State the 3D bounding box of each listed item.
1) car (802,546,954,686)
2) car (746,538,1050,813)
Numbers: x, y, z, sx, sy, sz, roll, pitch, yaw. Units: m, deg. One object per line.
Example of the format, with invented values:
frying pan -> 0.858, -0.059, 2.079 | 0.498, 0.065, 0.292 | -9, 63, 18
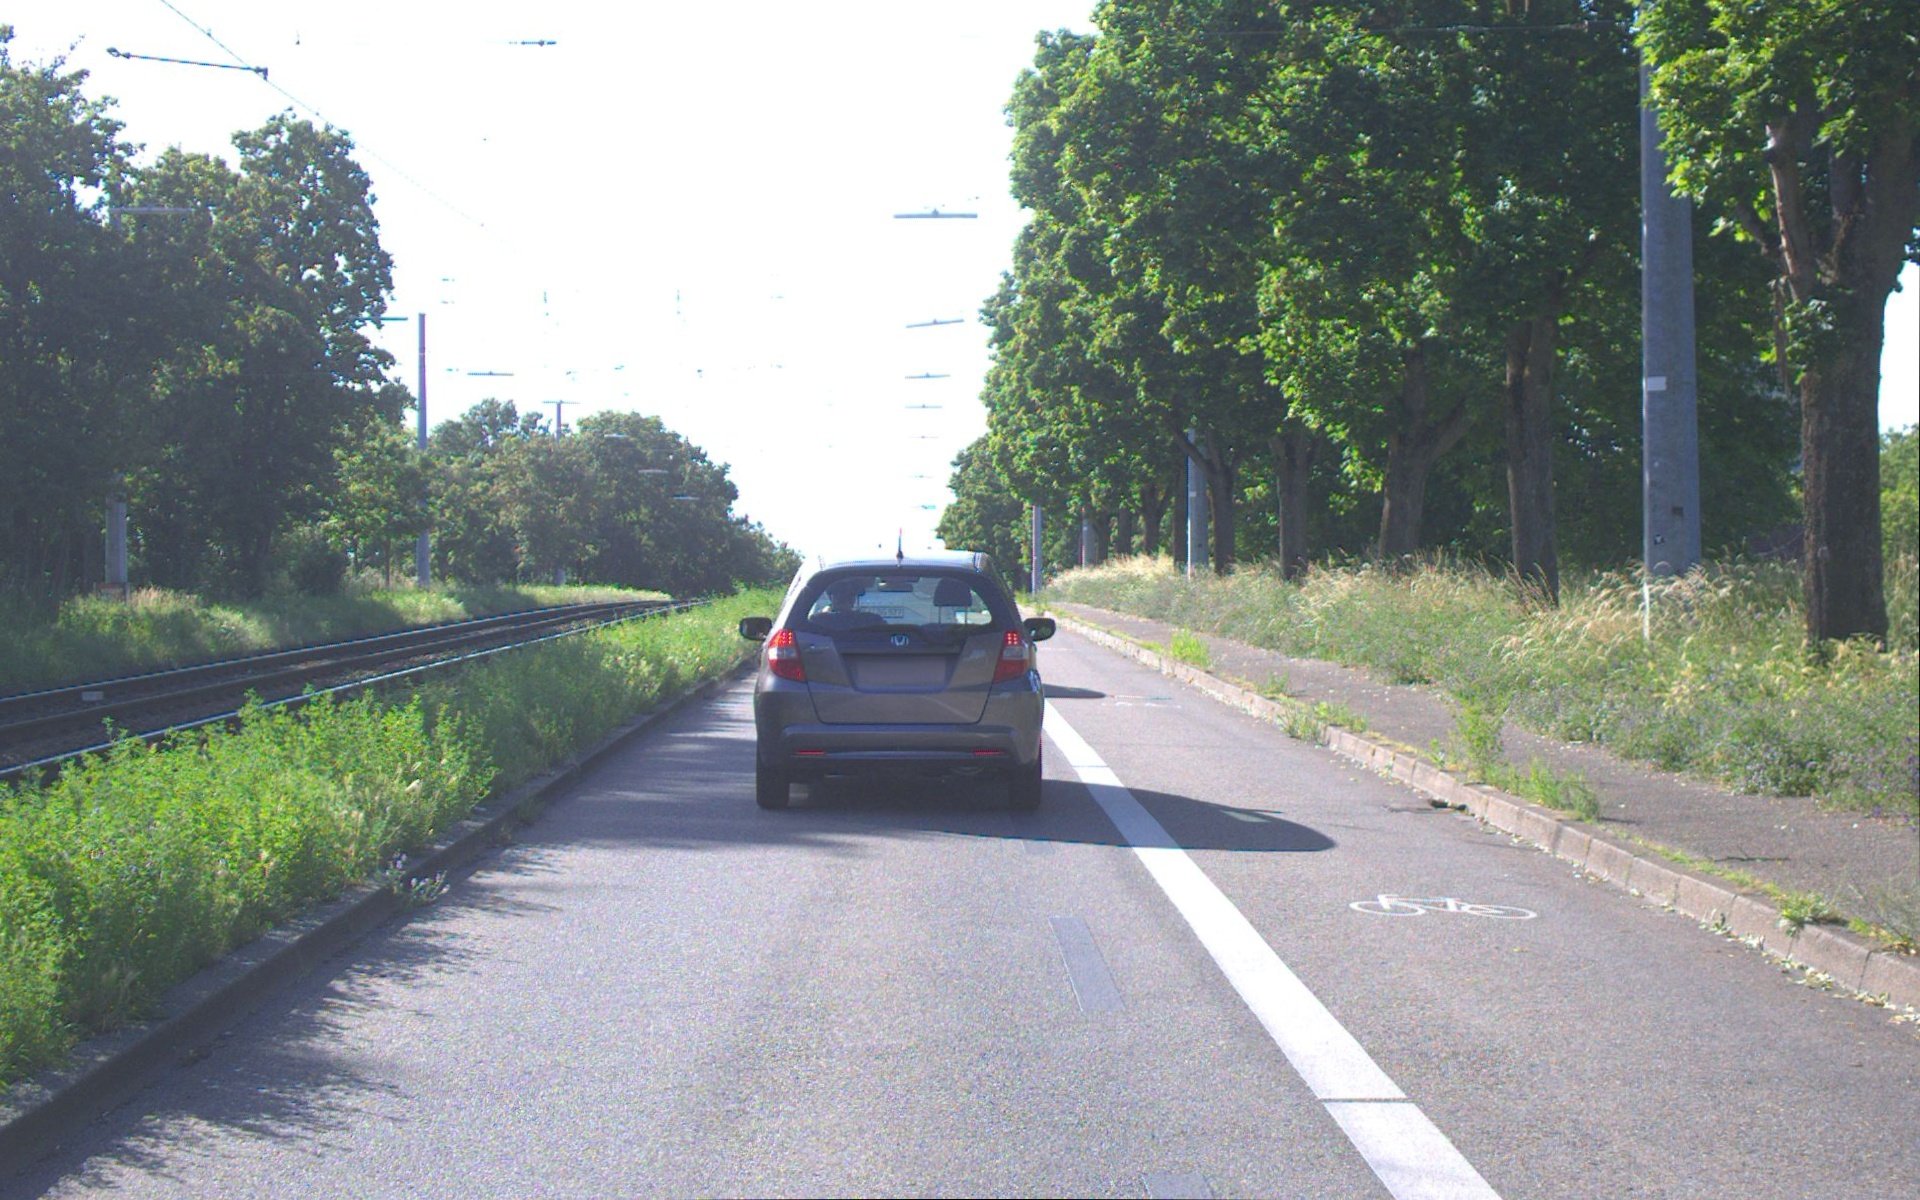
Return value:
car -> -0.903, 0.154, 39.639 | 1.654, 1.502, 3.811 | 1, 1, 0
car -> -0.350, 0.398, 21.076 | 1.670, 1.502, 3.811 | 1, 1, 0
